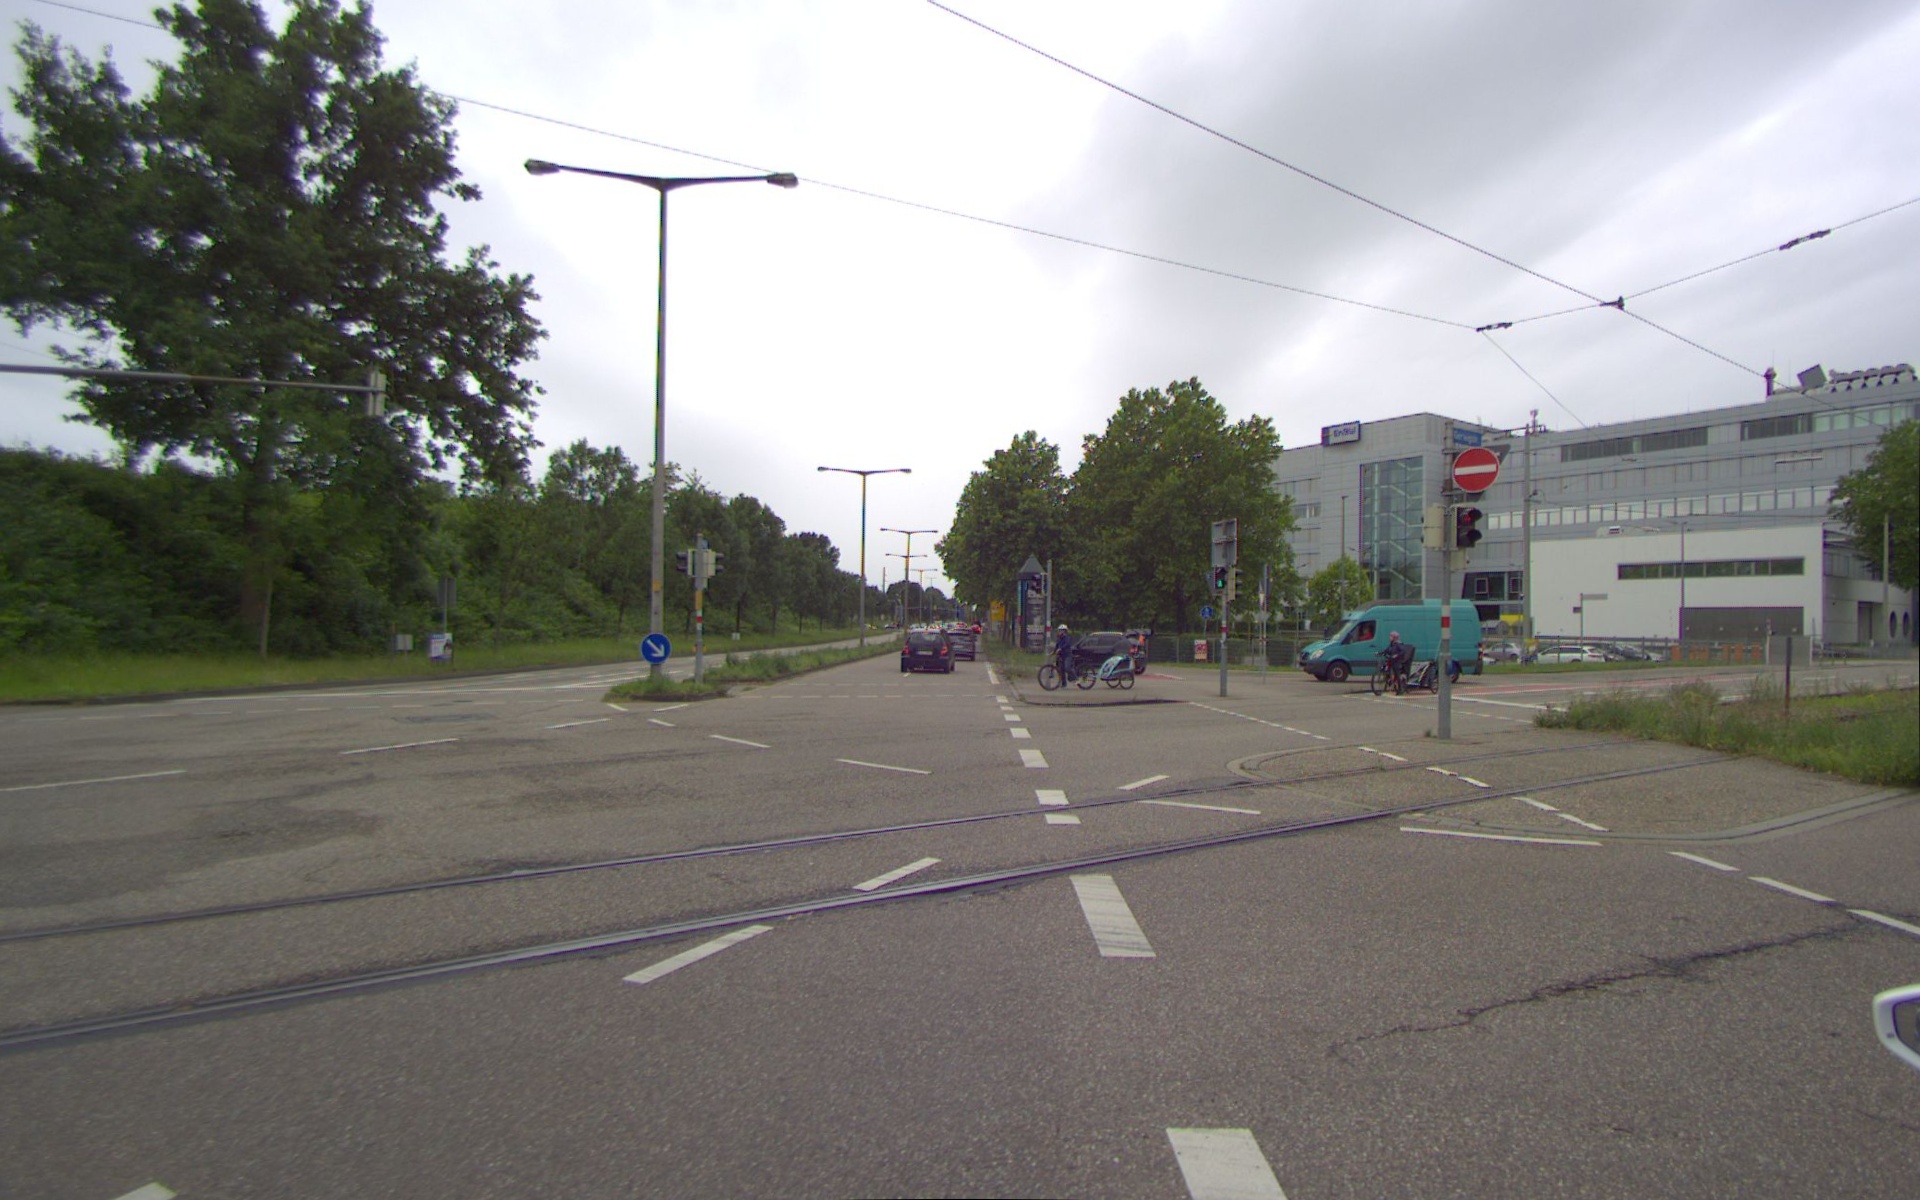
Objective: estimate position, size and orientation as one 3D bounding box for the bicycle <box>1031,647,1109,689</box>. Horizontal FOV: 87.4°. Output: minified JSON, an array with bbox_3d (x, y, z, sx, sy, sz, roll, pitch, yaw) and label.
[{"bbox_3d":[2.971,1.836,27.124,1.965,1.076,0.646,1,1,-10],"label":"bicycle"}]

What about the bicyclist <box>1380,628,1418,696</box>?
[{"bbox_3d":[11.369,1.584,26.021,0.680,1.706,0.640,1,1,-40],"label":"bicyclist"}]

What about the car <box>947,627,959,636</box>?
[{"bbox_3d":[-1.165,5.141,163.678,1.930,1.548,5.011,0,-1,-1],"label":"car"}]

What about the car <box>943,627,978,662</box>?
[{"bbox_3d":[0.041,2.325,53.085,1.743,1.674,3.670,1,0,1],"label":"car"}]

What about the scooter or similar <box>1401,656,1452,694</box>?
[{"bbox_3d":[12.622,2.027,27.162,1.188,0.919,0.837,1,1,-41],"label":"scooter or similar"}]

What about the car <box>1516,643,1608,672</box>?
[{"bbox_3d":[36.923,3.507,61.674,1.895,1.655,4.495,2,-2,-36],"label":"car"}]

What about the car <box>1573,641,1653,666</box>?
[{"bbox_3d":[42.314,3.475,65.181,1.895,1.505,3.959,2,-2,-36],"label":"car"}]

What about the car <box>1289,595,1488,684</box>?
[{"bbox_3d":[14.635,1.342,34.591,5.830,2.863,2.337,1,-1,2],"label":"car"}]

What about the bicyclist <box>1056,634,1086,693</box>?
[{"bbox_3d":[2.992,1.717,27.122,0.615,1.538,0.646,1,1,-10],"label":"bicyclist"}]

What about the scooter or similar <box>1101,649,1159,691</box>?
[{"bbox_3d":[4.638,1.904,27.417,1.424,1.076,0.646,1,1,-10],"label":"scooter or similar"}]

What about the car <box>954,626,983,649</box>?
[{"bbox_3d":[0.704,2.856,76.580,1.929,1.548,5.012,1,0,4],"label":"car"}]

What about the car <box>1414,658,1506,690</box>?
[{"bbox_3d":[27.358,4.018,55.037,1.892,1.552,4.188,2,-2,-32],"label":"car"}]

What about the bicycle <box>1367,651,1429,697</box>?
[{"bbox_3d":[11.362,1.891,26.029,2.008,1.076,0.640,1,1,-41],"label":"bicycle"}]

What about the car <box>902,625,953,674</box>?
[{"bbox_3d":[-1.230,1.765,36.527,1.740,1.548,3.667,1,0,-3],"label":"car"}]

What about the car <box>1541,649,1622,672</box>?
[{"bbox_3d":[39.301,3.805,63.557,1.895,1.332,3.959,2,-2,-36],"label":"car"}]

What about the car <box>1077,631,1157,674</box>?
[{"bbox_3d":[6.068,2.010,39.220,1.745,1.548,3.658,1,-2,-15],"label":"car"}]
